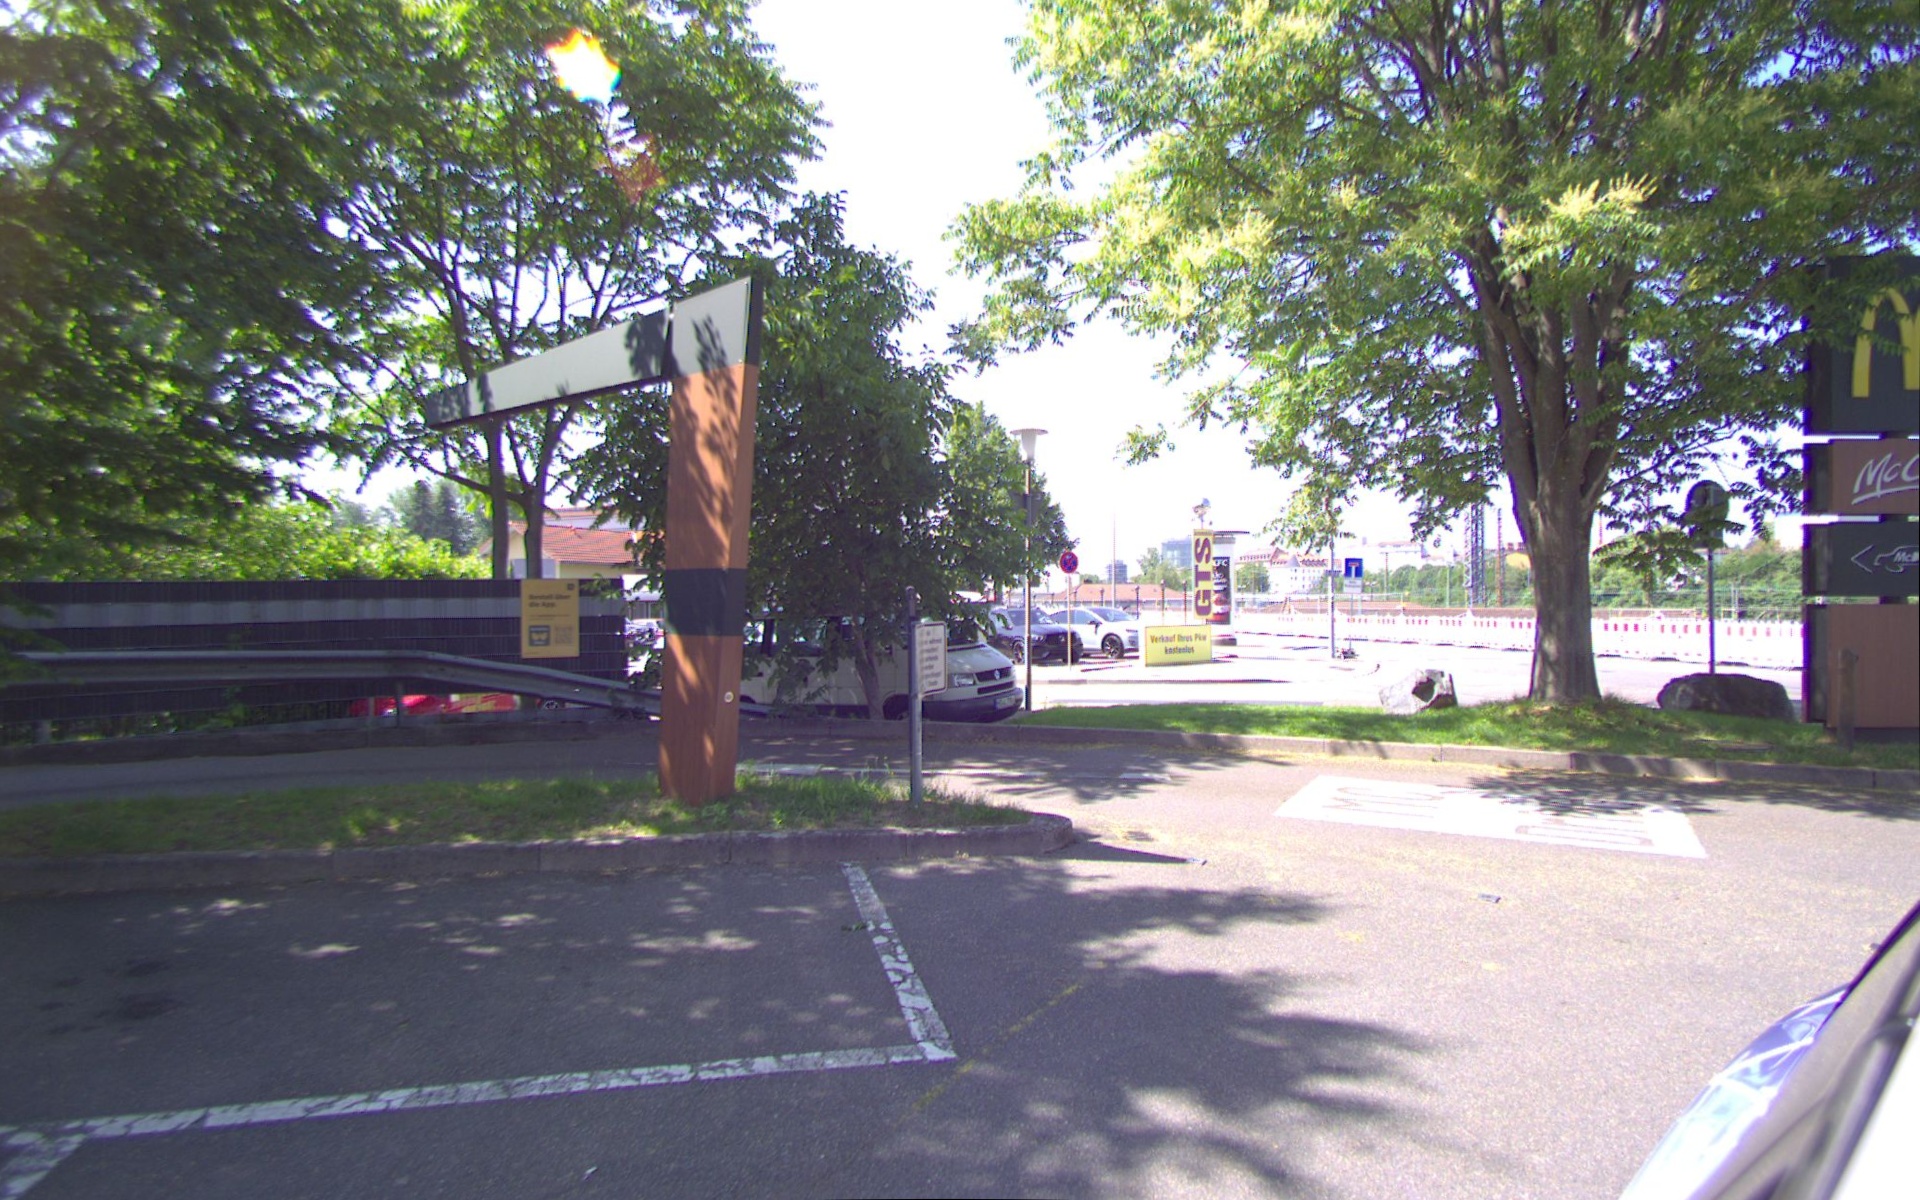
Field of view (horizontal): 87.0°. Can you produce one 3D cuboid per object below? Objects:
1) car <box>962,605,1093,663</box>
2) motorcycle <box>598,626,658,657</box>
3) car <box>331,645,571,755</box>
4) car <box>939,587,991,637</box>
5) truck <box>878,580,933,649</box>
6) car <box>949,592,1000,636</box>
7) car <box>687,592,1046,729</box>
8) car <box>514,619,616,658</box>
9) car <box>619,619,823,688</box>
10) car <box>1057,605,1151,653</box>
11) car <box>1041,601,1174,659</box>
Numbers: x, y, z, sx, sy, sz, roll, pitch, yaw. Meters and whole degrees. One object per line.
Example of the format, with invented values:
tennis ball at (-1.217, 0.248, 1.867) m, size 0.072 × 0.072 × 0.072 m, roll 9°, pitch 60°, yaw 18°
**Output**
car at (1.949, 1.002, 30.779) m, size 2.011 × 1.615 × 4.429 m, roll 1°, pitch -2°, yaw -26°
motorcycle at (-13.592, 1.676, 41.537) m, size 0.986 × 1.242 × 2.703 m, roll 0°, pitch -1°, yaw 17°
car at (-8.364, 1.566, 16.896) m, size 1.472 × 1.396 × 3.383 m, roll 1°, pitch 1°, yaw 27°
car at (0.188, 0.575, 49.680) m, size 2.100 × 2.314 × 4.715 m, roll 0°, pitch -1°, yaw -5°
truck at (-2.403, 0.657, 46.076) m, size 2.232 × 2.941 × 5.943 m, roll 1°, pitch -1°, yaw -1°
car at (0.570, 0.613, 43.642) m, size 1.846 × 1.760 × 4.724 m, roll 1°, pitch -1°, yaw -3°
car at (-1.428, 0.716, 14.111) m, size 5.001 × 1.603 × 1.932 m, roll 0°, pitch -1°, yaw 37°
car at (-16.978, 1.634, 43.456) m, size 3.962 × 1.605 × 1.980 m, roll -1°, pitch -2°, yaw 28°
car at (-6.240, 1.356, 26.482) m, size 4.969 × 1.666 × 1.986 m, roll -1°, pitch -1°, yaw 21°
car at (5.205, 1.027, 37.197) m, size 1.823 × 1.650 × 4.008 m, roll 0°, pitch -1°, yaw -18°
car at (4.684, 0.941, 32.555) m, size 1.963 × 1.748 × 3.996 m, roll 1°, pitch -2°, yaw -38°
